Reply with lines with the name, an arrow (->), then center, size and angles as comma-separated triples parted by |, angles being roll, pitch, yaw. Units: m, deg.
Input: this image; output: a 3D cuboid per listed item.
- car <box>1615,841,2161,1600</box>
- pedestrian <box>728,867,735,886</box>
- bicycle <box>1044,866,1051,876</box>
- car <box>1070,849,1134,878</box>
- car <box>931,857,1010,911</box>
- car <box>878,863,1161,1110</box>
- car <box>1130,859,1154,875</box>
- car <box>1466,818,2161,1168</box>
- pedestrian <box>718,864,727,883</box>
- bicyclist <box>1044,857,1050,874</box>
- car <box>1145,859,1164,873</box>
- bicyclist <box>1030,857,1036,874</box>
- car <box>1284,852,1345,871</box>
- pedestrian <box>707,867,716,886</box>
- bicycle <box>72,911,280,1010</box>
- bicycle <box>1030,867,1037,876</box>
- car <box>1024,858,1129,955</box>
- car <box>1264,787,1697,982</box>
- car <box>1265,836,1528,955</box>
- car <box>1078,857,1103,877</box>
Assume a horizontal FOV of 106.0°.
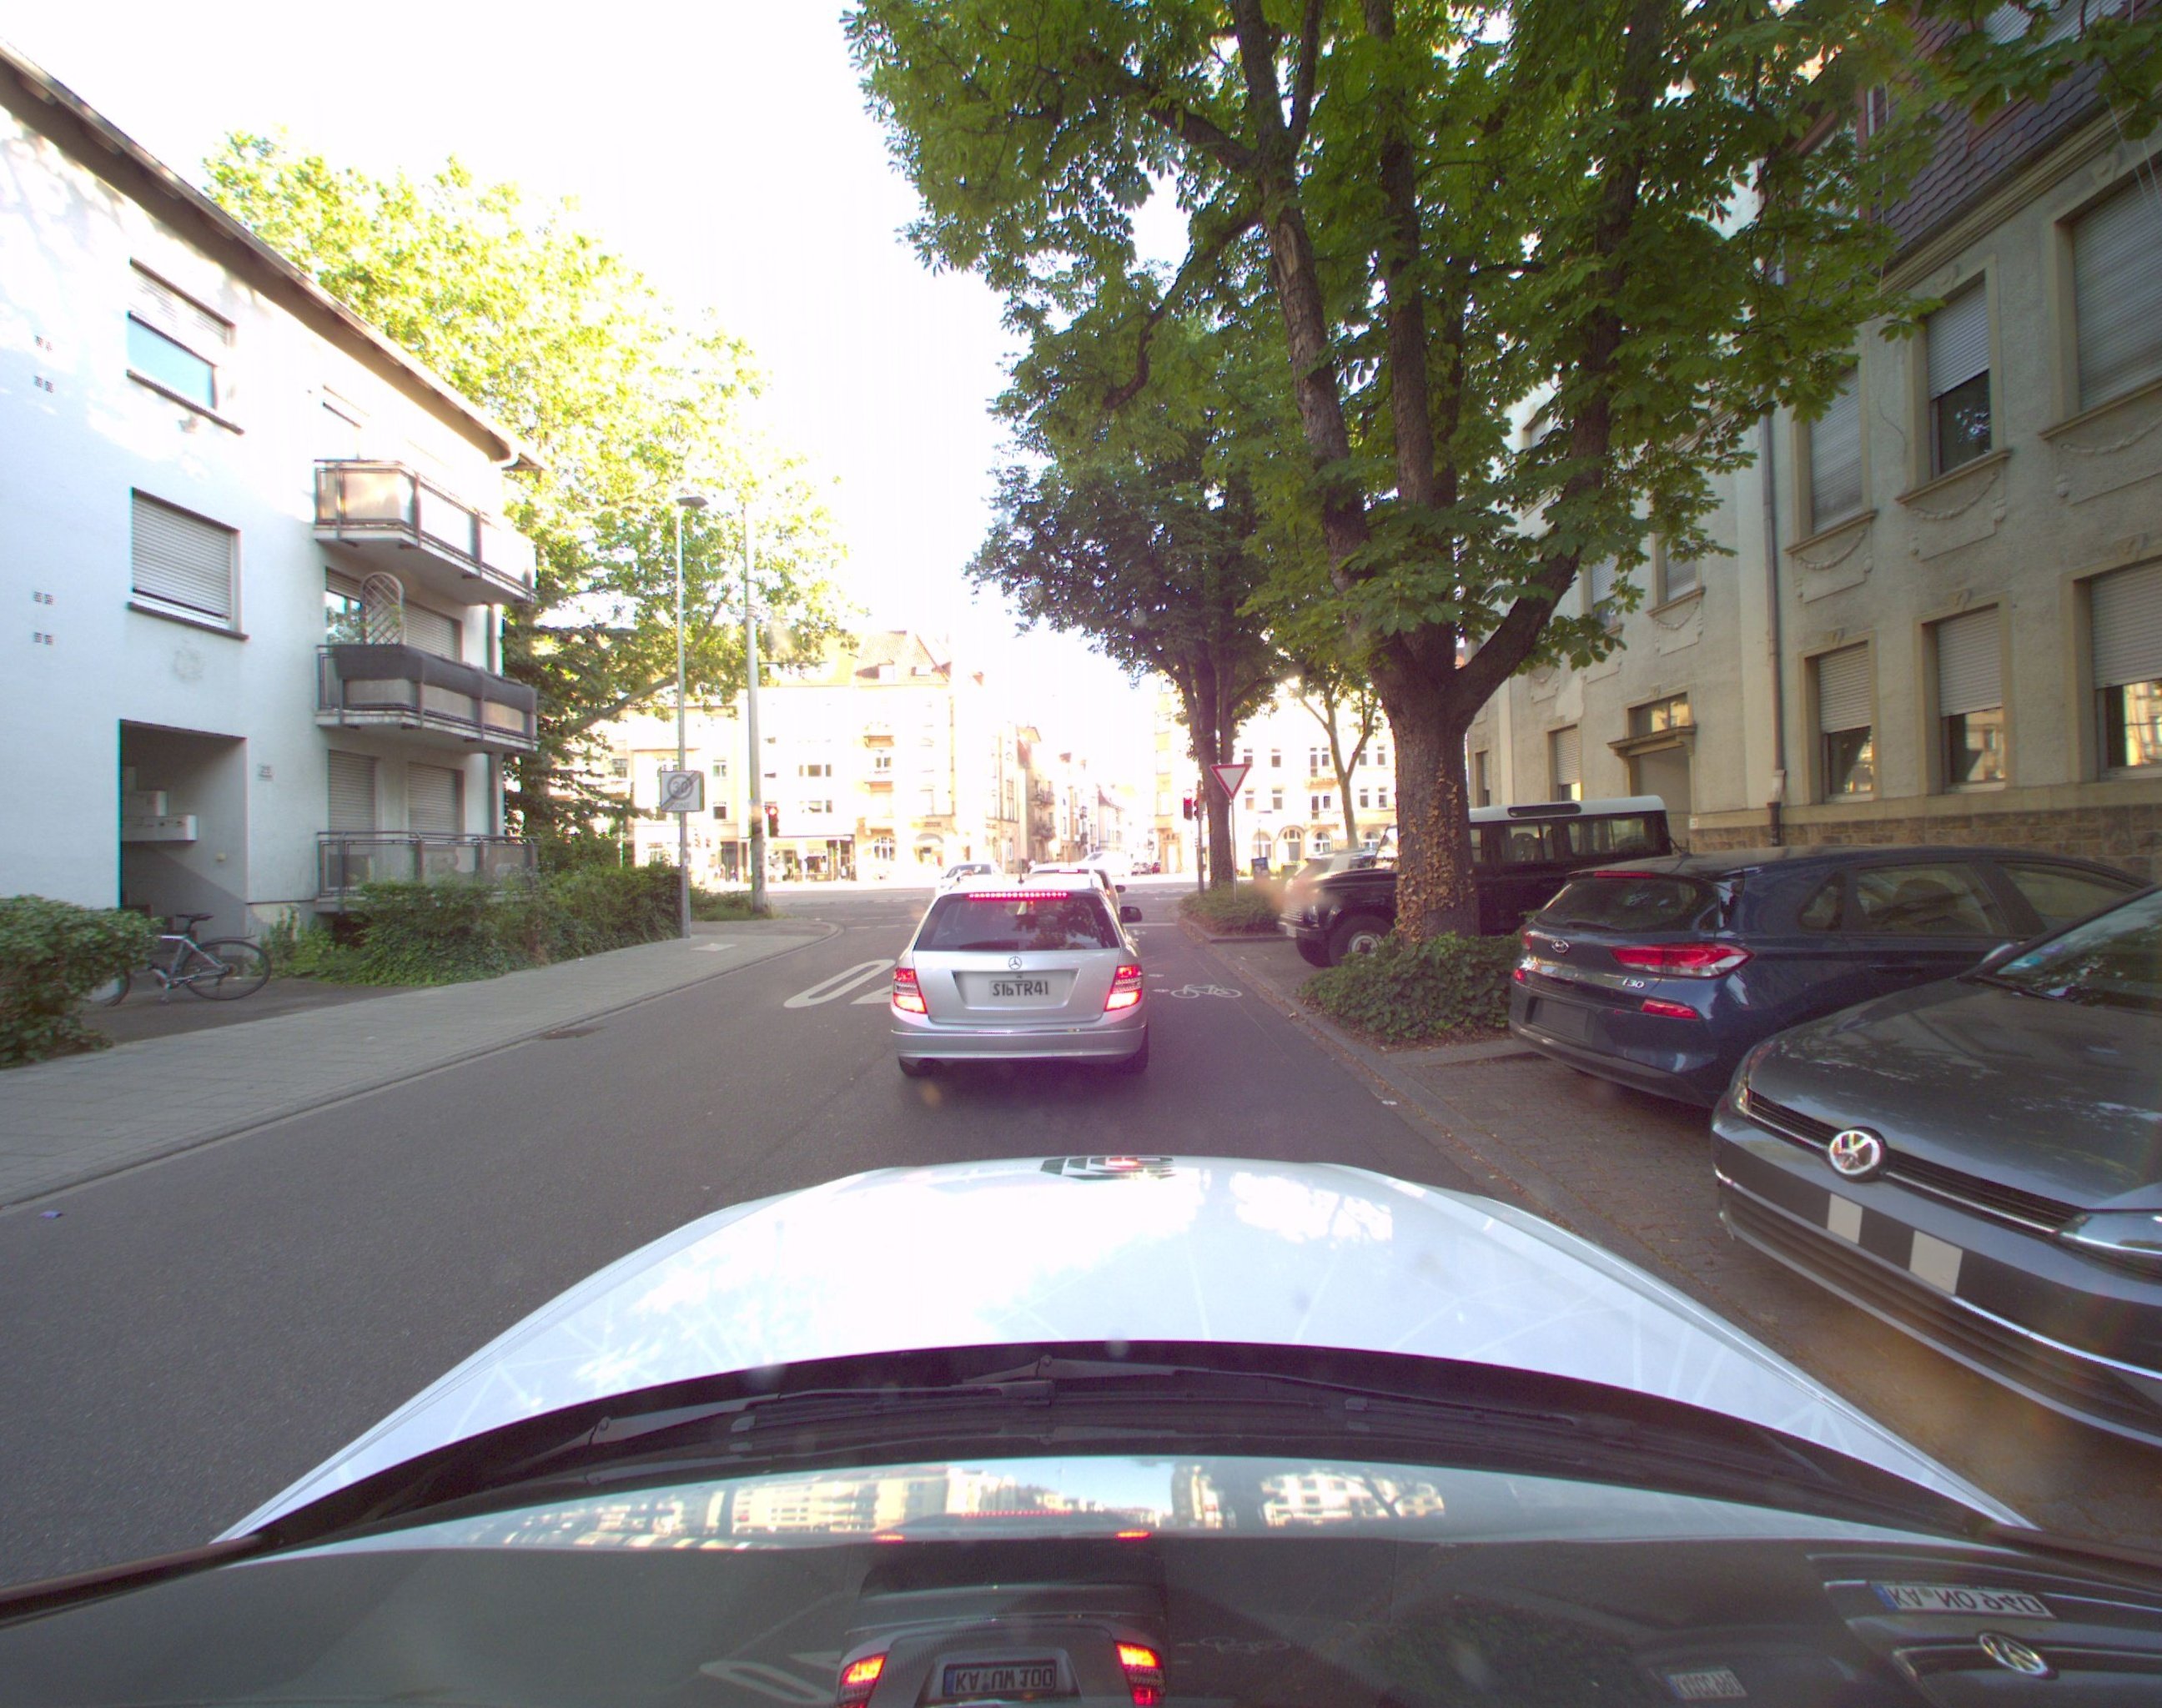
car -> 4.094, 0.655, 2.331 | 4.037, 1.422, 1.627 | -3, -1, -2
pedestrian -> -27.827, 1.762, 64.884 | 0.474, 1.511, 0.428 | -1, 0, -18
bicycle -> -3.057, 1.526, 73.569 | 0.567, 0.834, 1.564 | -1, 0, -1
car -> 1.238, 0.541, 46.581 | 1.600, 1.501, 3.614 | -1, 1, 44
car -> -3.419, 0.880, 26.038 | 1.774, 1.461, 4.302 | -2, 1, 2
car -> -0.383, 0.803, 6.608 | 1.685, 1.429, 3.491 | 0, 0, -1
car -> 6.442, 1.323, 85.771 | 1.708, 1.478, 4.016 | -3, 0, 14
car -> 4.429, 0.608, 4.544 | 3.739, 1.422, 1.627 | -3, -1, -2
pedestrian -> -28.064, 1.512, 63.740 | 0.566, 1.511, 0.499 | -1, 0, -17
bicyclist -> -3.072, 1.012, 73.587 | 0.465, 1.521, 0.693 | -1, 0, -2
car -> 9.221, 1.463, 102.038 | 1.709, 1.478, 4.016 | -6, -1, 14
bicyclist -> -4.303, 1.041, 73.618 | 0.465, 1.514, 0.655 | -1, 0, -2
car -> 14.180, 0.468, 49.542 | 3.352, 1.069, 1.380 | -2, 0, 0
pedestrian -> -29.671, 1.823, 65.420 | 0.539, 1.511, 0.504 | -1, -1, -40
bicycle -> -10.004, 1.151, 9.072 | 1.469, 0.975, 0.402 | 2, -2, -38
bicycle -> -4.281, 1.568, 73.671 | 0.567, 0.834, 1.564 | -1, 0, -1
car -> -0.052, 0.784, 13.868 | 1.528, 1.391, 3.599 | -1, 0, 0
car -> 4.771, 0.345, 10.185 | 4.478, 1.956, 1.792 | -3, 0, -1
car -> 4.908, 0.608, 12.967 | 3.475, 1.586, 1.708 | -3, 0, -5
car -> 1.014, 1.327, 85.758 | 1.926, 1.958, 4.161 | -2, 0, 10
